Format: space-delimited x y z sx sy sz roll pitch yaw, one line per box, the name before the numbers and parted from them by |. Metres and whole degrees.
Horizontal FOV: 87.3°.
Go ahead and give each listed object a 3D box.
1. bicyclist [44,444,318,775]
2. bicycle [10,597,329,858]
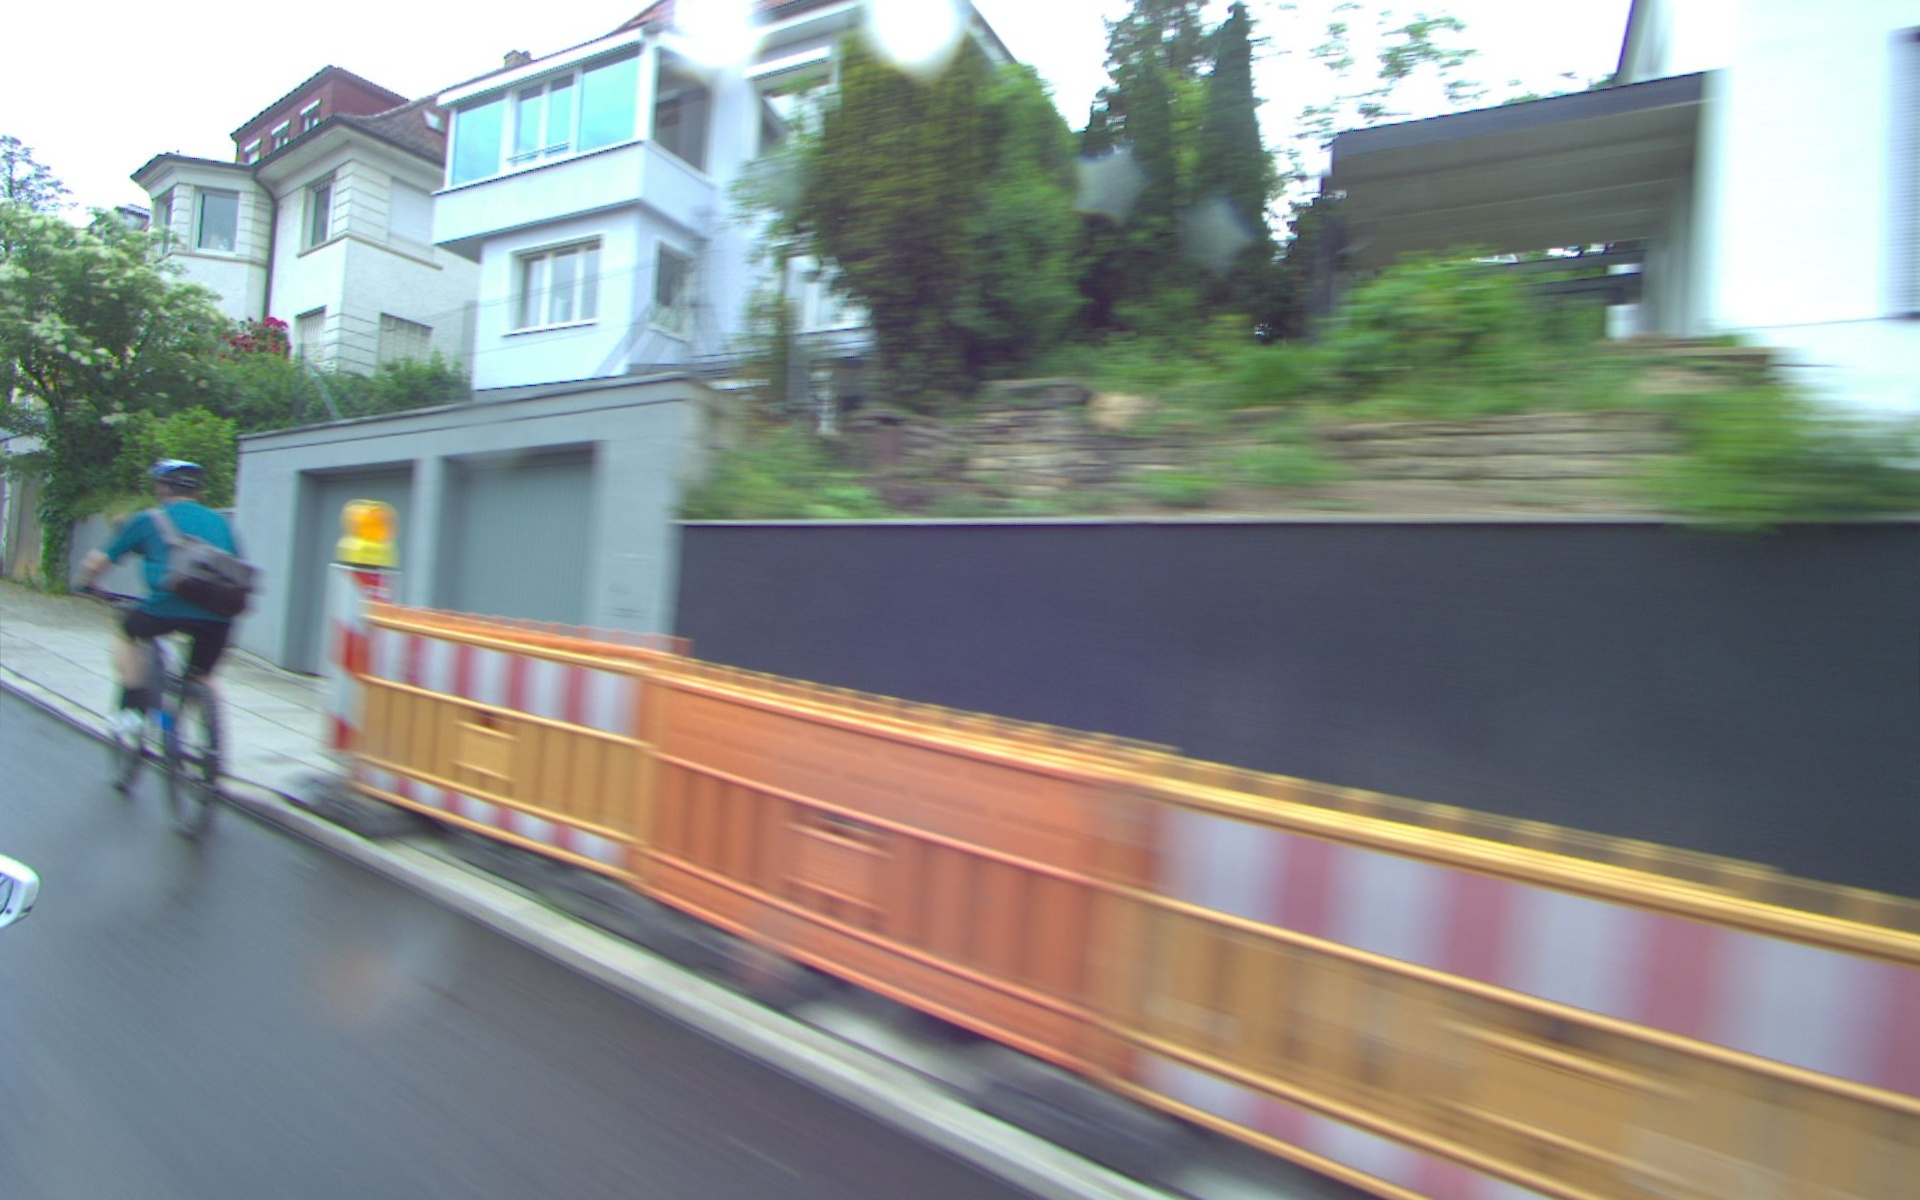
bicyclist | -3.903 0.039 5.050 0.872 1.490 0.726 7 0 34
bicycle | -4.019 0.583 5.085 1.644 0.976 0.731 7 -1 35
